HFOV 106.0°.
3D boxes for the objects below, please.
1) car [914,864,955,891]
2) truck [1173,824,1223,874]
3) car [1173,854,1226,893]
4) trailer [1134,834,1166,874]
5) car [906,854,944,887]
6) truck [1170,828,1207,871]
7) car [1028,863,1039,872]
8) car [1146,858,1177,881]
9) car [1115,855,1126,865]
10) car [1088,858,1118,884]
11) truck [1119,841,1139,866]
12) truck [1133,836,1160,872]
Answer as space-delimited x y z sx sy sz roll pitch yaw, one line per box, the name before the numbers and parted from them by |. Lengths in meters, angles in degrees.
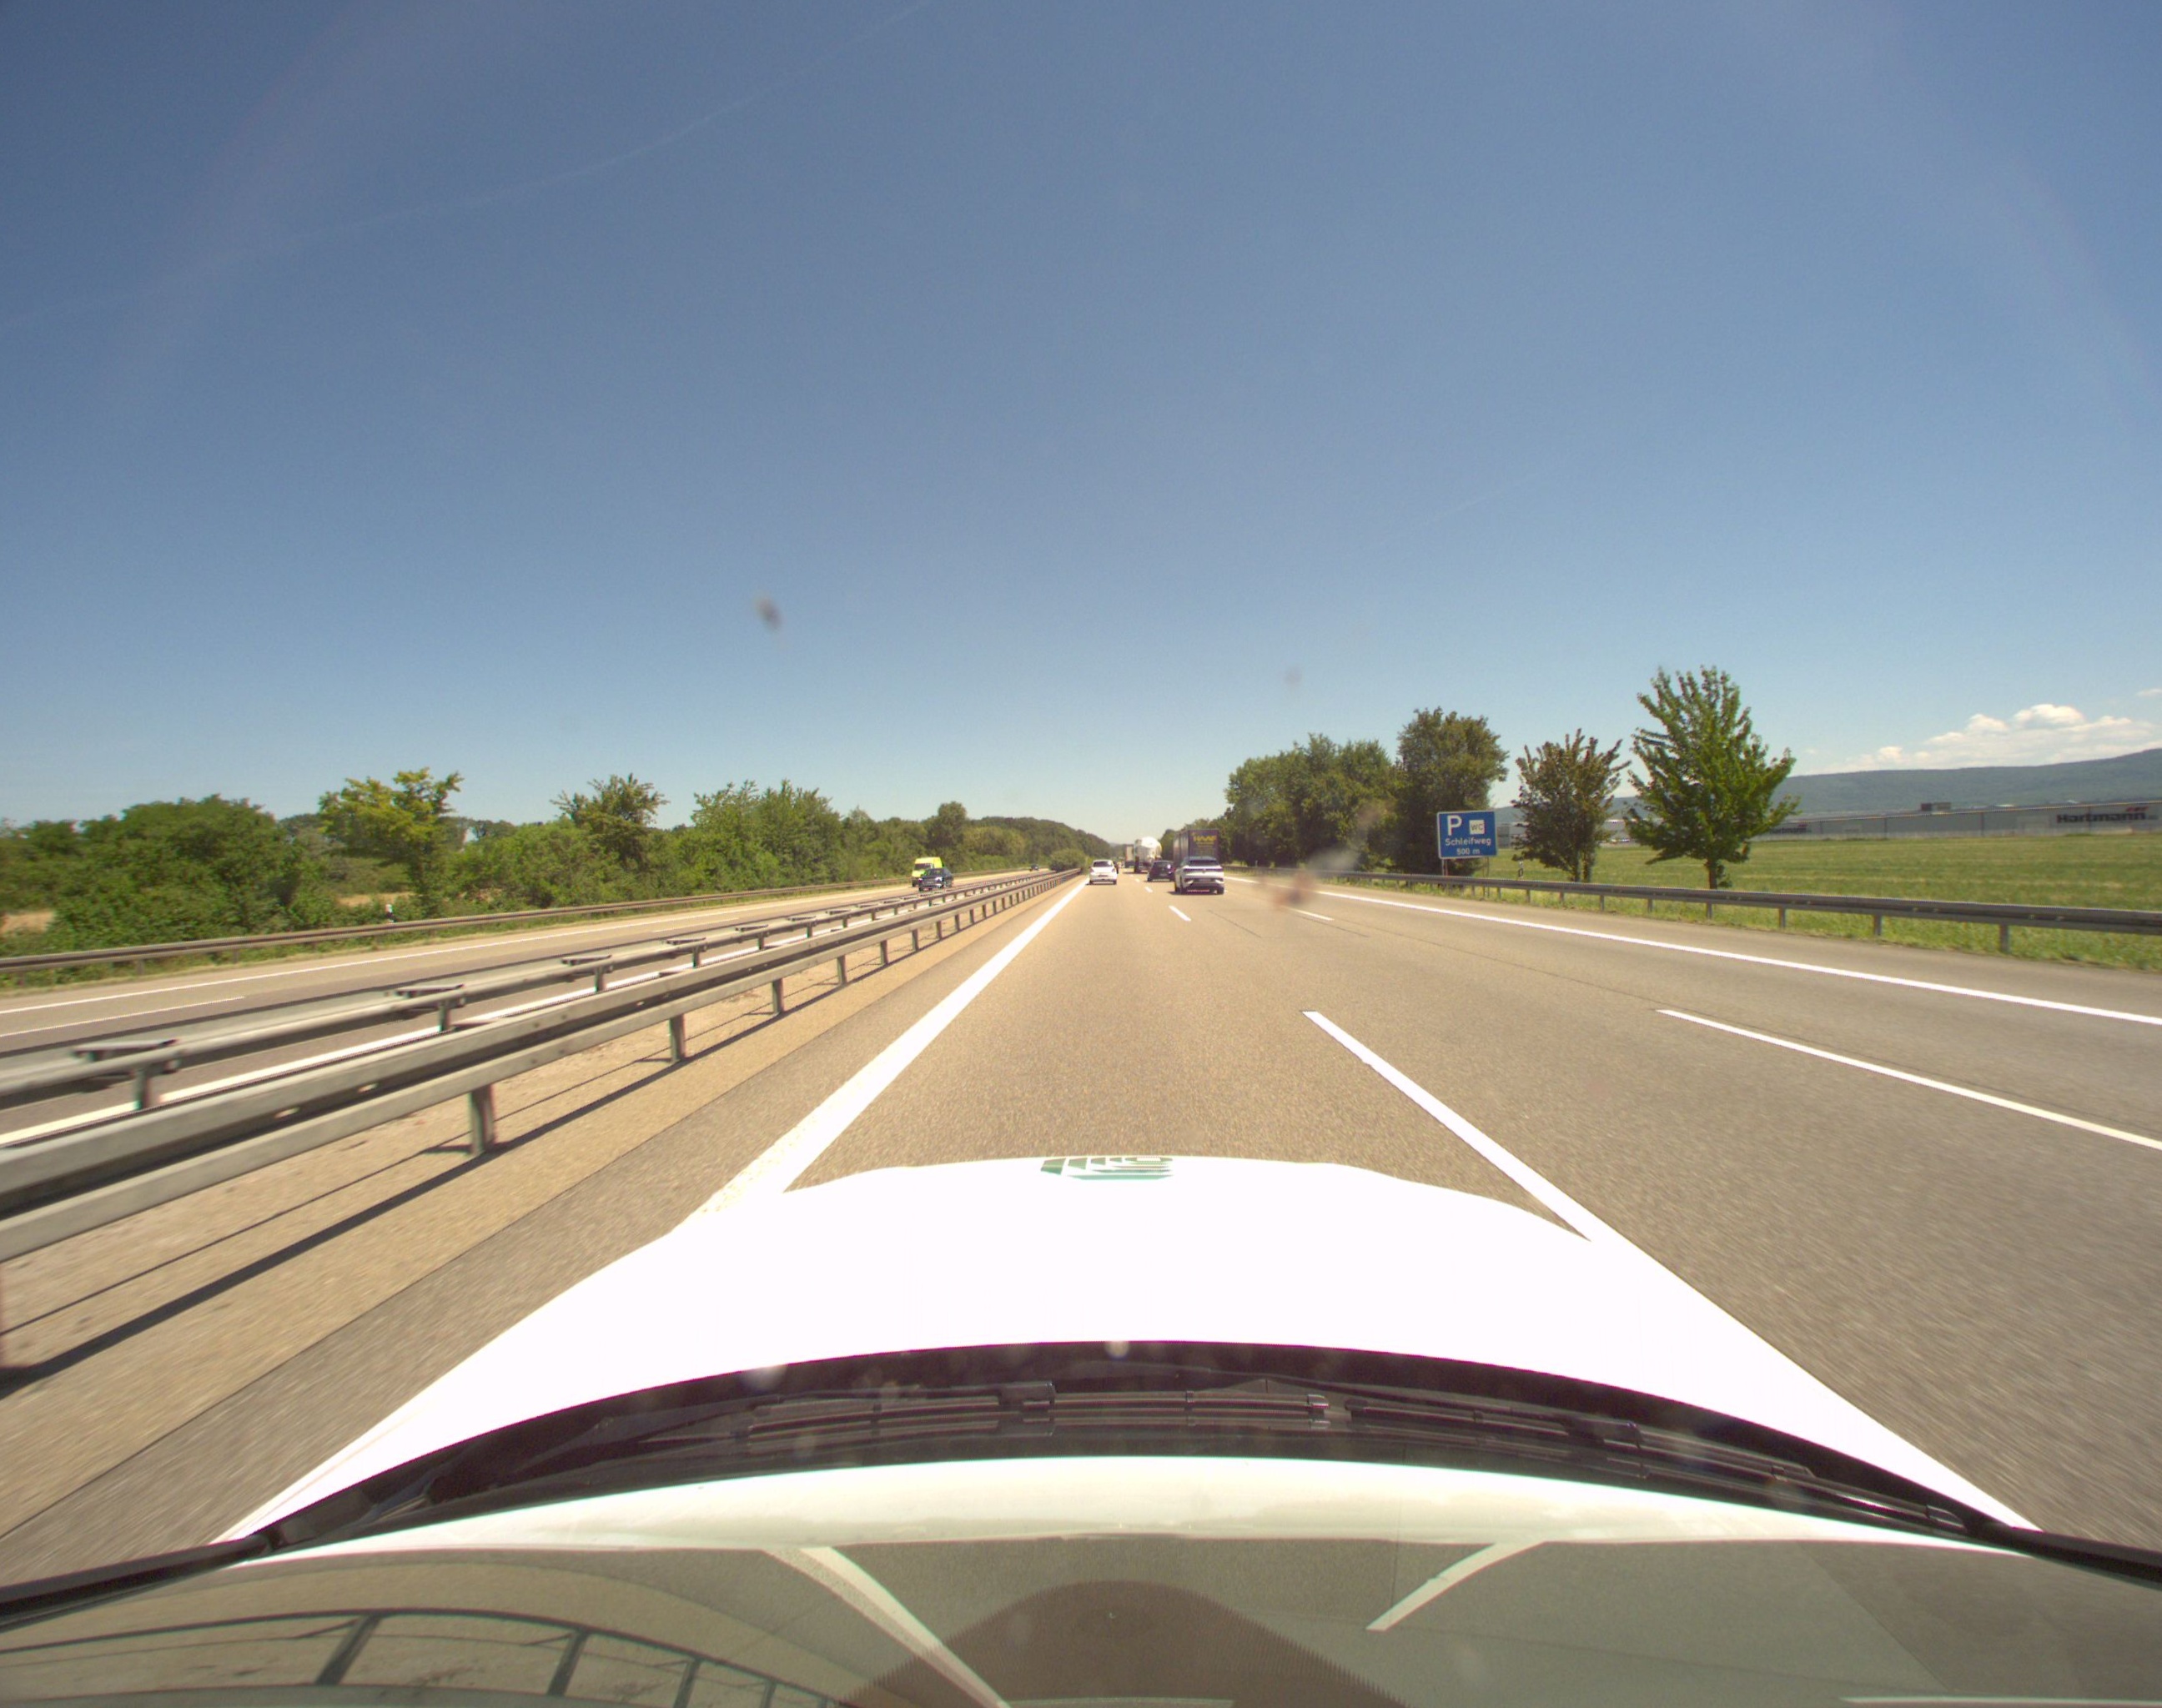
car | -10.409 1.619 58.247 1.861 1.690 4.628 -4 0 2
truck | 10.567 -0.410 75.142 3.096 4.139 15.521 0 0 3
car | 5.147 0.820 35.827 1.795 1.603 4.382 0 0 2
trailer | 7.463 0.036 89.673 2.901 4.069 12.422 0 0 2
car | -14.409 1.475 75.633 2.157 2.779 5.802 -4 0 1
truck | 10.954 -0.421 83.668 3.096 4.139 8.061 0 0 3
car | -10.054 2.918 173.764 1.916 1.717 4.290 -2 0 2
car | 5.394 1.032 55.077 1.843 1.523 3.959 0 0 2
car | 9.349 1.311 193.077 2.465 2.354 5.185 0 0 3
car | 1.359 1.016 50.531 1.793 1.552 3.610 0 0 1
truck | 8.652 -0.093 147.233 3.381 4.214 12.091 0 0 3
truck | 7.630 0.021 95.364 2.900 4.079 7.199 0 0 2
